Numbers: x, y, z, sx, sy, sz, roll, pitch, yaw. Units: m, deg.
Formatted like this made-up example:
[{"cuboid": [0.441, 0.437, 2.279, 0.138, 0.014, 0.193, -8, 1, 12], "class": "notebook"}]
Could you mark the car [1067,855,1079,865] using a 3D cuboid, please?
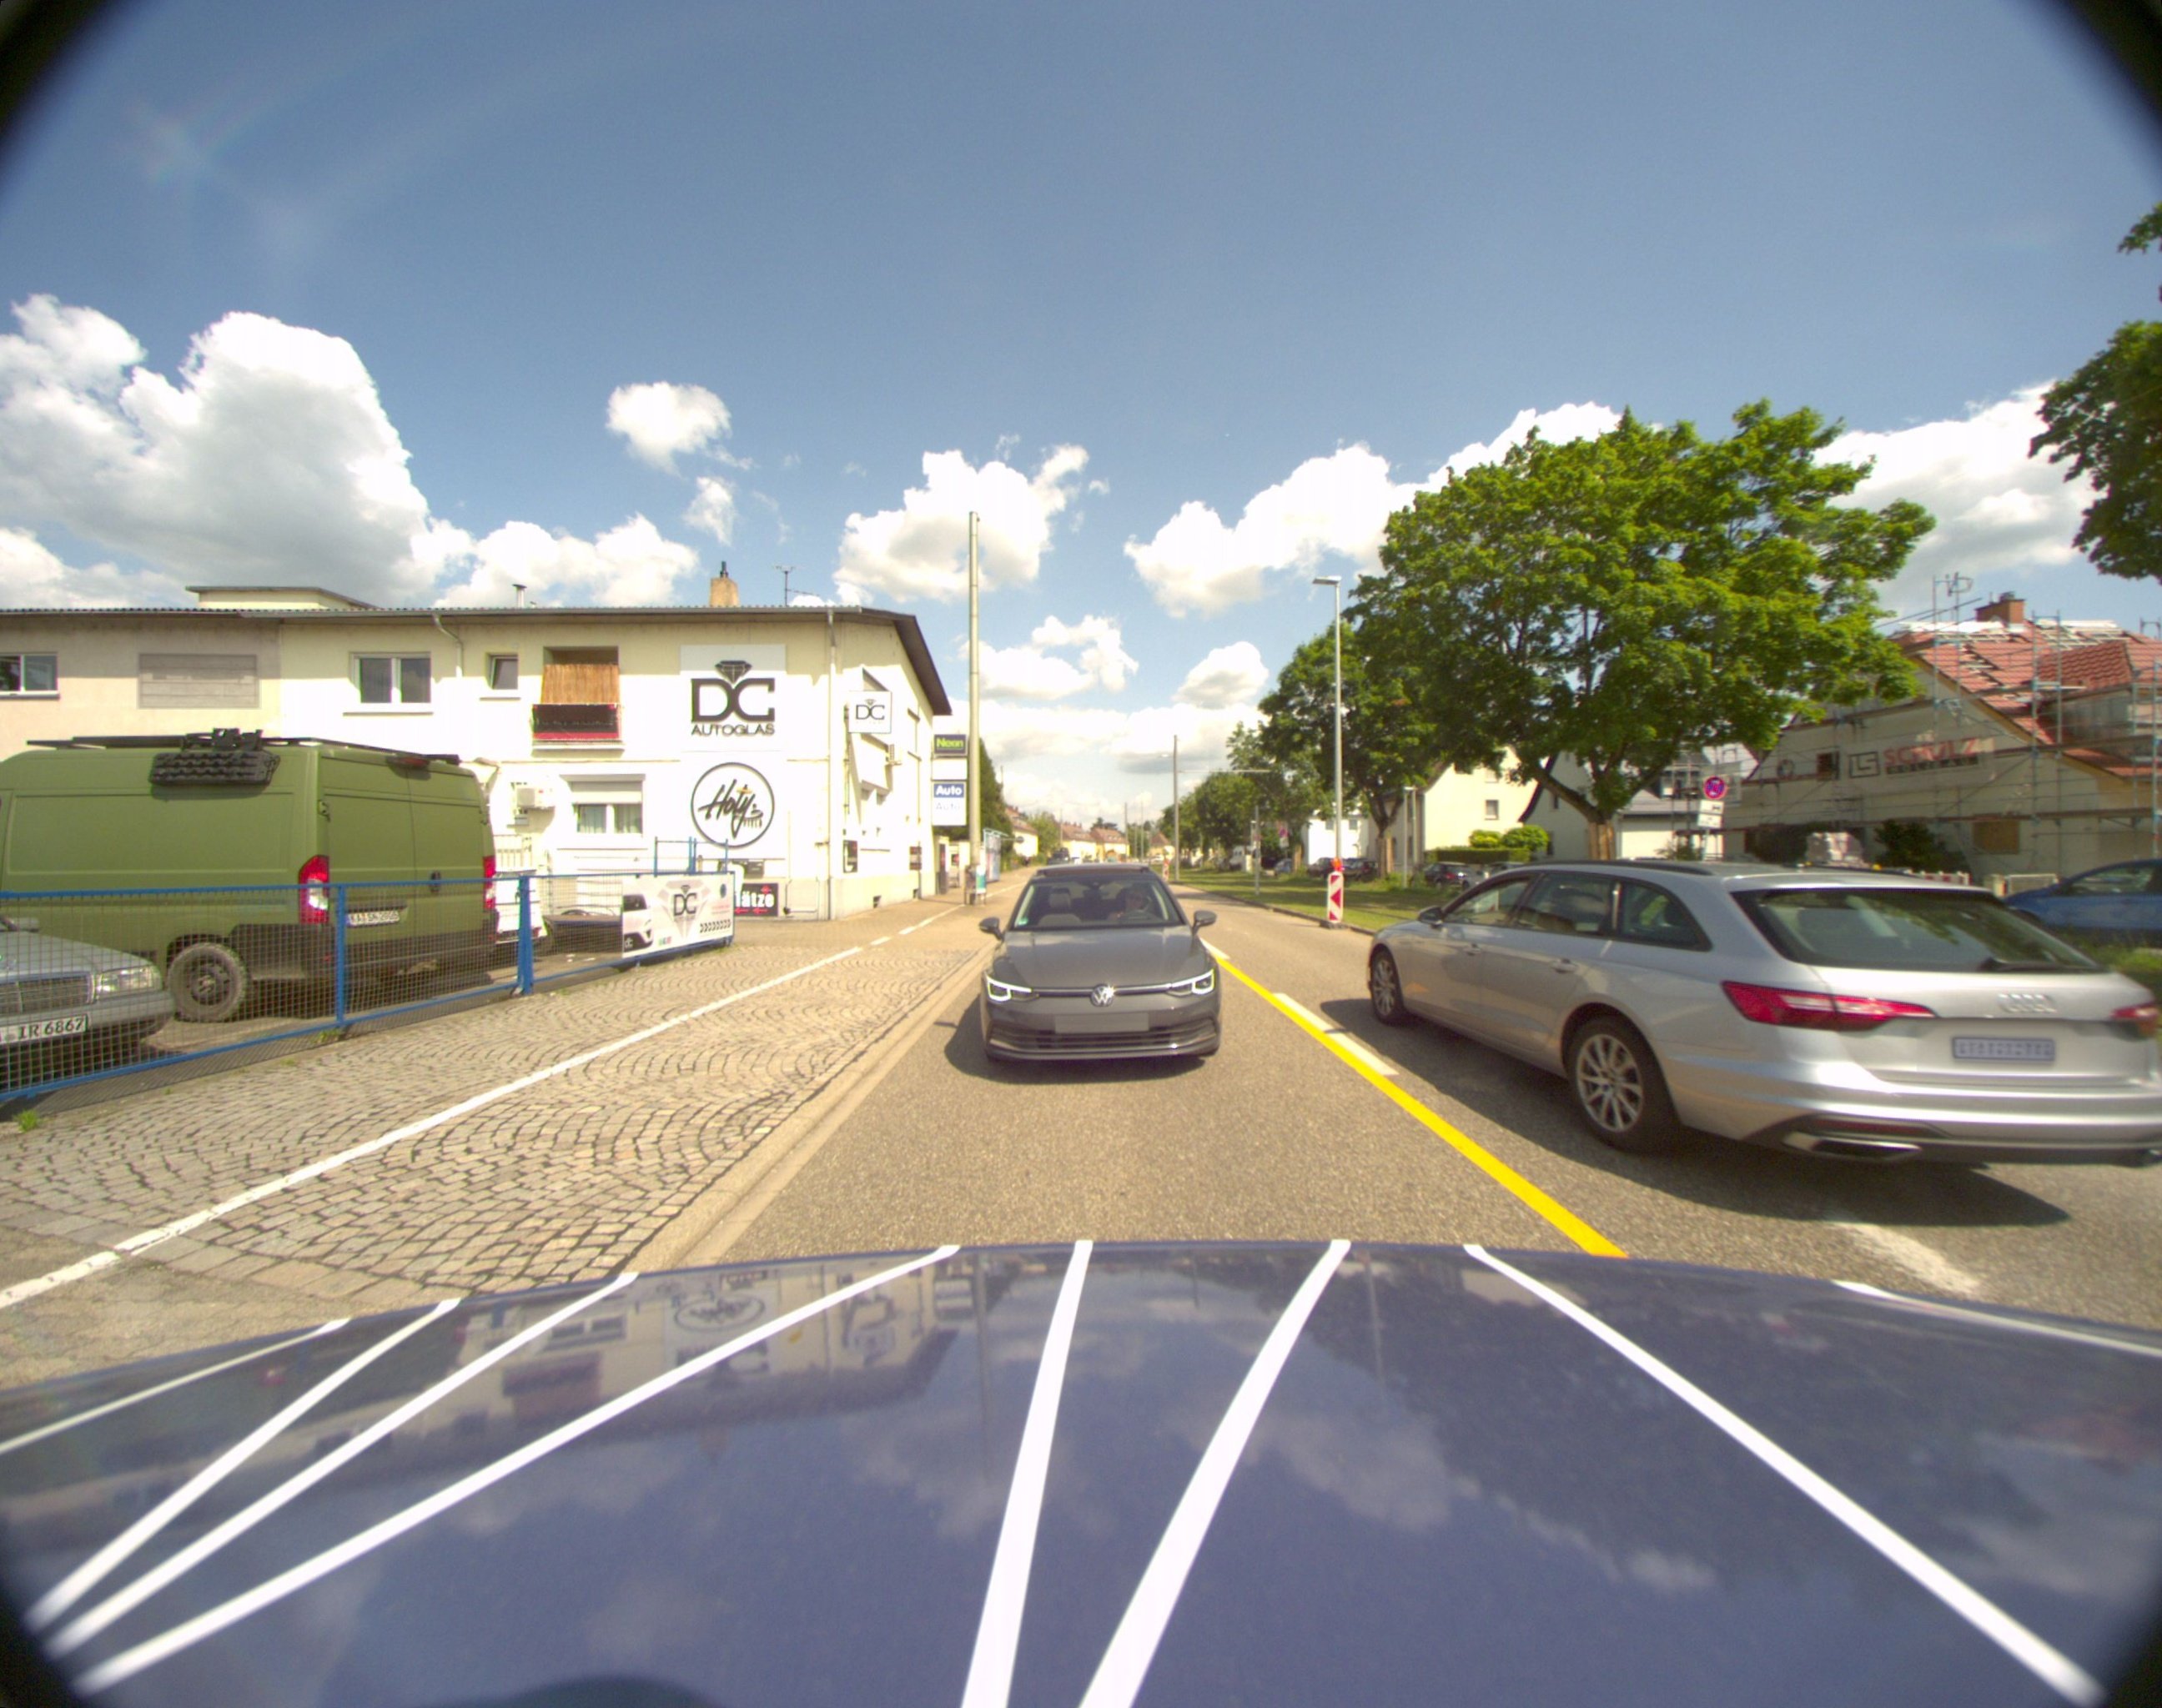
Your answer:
[{"cuboid": [-1.295, 0.943, 123.376, 1.756, 1.480, 4.627, 1, 0, 1], "class": "car"}]

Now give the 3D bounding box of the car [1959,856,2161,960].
[{"cuboid": [16.365, 0.795, 11.276, 1.999, 1.445, 3.999, 1, 1, -1], "class": "car"}]

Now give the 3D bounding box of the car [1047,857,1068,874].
[{"cuboid": [-2.170, 1.070, 71.085, 1.655, 1.423, 4.096, 1, 1, 2], "class": "car"}]

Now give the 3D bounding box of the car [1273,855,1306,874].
[{"cuboid": [16.649, 0.821, 60.891, 1.758, 1.427, 3.889, 1, 1, 3], "class": "car"}]

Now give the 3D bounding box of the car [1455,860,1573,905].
[{"cuboid": [16.499, 1.032, 29.294, 1.809, 1.474, 4.939, 1, 1, 1], "class": "car"}]

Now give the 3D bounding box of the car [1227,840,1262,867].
[{"cuboid": [16.825, -0.040, 78.548, 1.999, 2.714, 6.461, 1, 0, -1], "class": "car"}]

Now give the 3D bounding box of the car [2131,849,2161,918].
[{"cuboid": [28.209, 0.746, 18.129, 3.656, 1.674, 1.873, 1, 1, 0], "class": "car"}]

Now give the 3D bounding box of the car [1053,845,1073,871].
[{"cuboid": [-1.908, 0.403, 81.841, 2.001, 2.744, 4.878, 1, 0, 1], "class": "car"}]

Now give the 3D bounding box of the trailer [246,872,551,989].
[{"cuboid": [-8.727, 0.943, 9.857, 2.789, 1.325, 1.303, 1, 1, 1], "class": "trailer"}]

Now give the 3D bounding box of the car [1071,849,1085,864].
[{"cuboid": [-0.458, 0.422, 136.330, 1.923, 2.522, 5.346, 1, 0, 5], "class": "car"}]

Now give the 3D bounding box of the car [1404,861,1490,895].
[{"cuboid": [16.507, 1.050, 34.496, 1.998, 1.310, 3.852, 2, 1, 0], "class": "car"}]

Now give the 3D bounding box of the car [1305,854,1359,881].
[{"cuboid": [16.716, 0.865, 50.883, 1.999, 1.681, 4.390, 0, 1, -3], "class": "car"}]

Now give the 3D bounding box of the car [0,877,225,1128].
[{"cuboid": [-8.374, 0.889, 4.837, 4.191, 1.423, 1.821, 0, 1, 8], "class": "car"}]

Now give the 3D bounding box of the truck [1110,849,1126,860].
[{"cuboid": [9.802, 0.092, 201.045, 2.529, 2.931, 7.869, 1, 1, 14], "class": "truck"}]

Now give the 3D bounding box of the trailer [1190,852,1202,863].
[{"cuboid": [17.041, 0.484, 112.682, 1.302, 1.510, 2.282, 1, 0, 0], "class": "trailer"}]

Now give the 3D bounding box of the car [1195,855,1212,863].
[{"cuboid": [17.293, 0.662, 107.236, 1.785, 1.087, 3.836, 1, 1, 0], "class": "car"}]

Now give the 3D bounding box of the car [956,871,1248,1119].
[{"cuboid": [0.105, 0.934, 6.924, 1.786, 1.412, 4.289, -2, 0, -1], "class": "car"}]

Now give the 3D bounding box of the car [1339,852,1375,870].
[{"cuboid": [25.429, 0.653, 70.230, 1.907, 1.568, 4.000, 1, 1, 1], "class": "car"}]

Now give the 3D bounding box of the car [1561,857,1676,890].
[{"cuboid": [25.073, 0.891, 35.555, 3.997, 1.393, 1.982, -1, 1, 1], "class": "car"}]

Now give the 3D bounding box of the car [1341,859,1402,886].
[{"cuboid": [16.921, 1.040, 44.425, 1.998, 1.430, 3.999, 1, 1, 0], "class": "car"}]

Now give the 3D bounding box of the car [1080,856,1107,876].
[{"cuboid": [1.029, 0.961, 60.970, 1.998, 1.566, 4.001, 0, 0, 3], "class": "car"}]

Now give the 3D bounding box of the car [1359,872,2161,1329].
[{"cuboid": [3.380, 0.884, 4.707, 1.659, 1.439, 4.302, 0, 0, -1], "class": "car"}]

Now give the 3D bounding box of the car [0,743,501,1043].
[{"cuboid": [-8.927, 0.339, 7.644, 4.547, 2.558, 2.151, 0, 1, 2], "class": "car"}]
